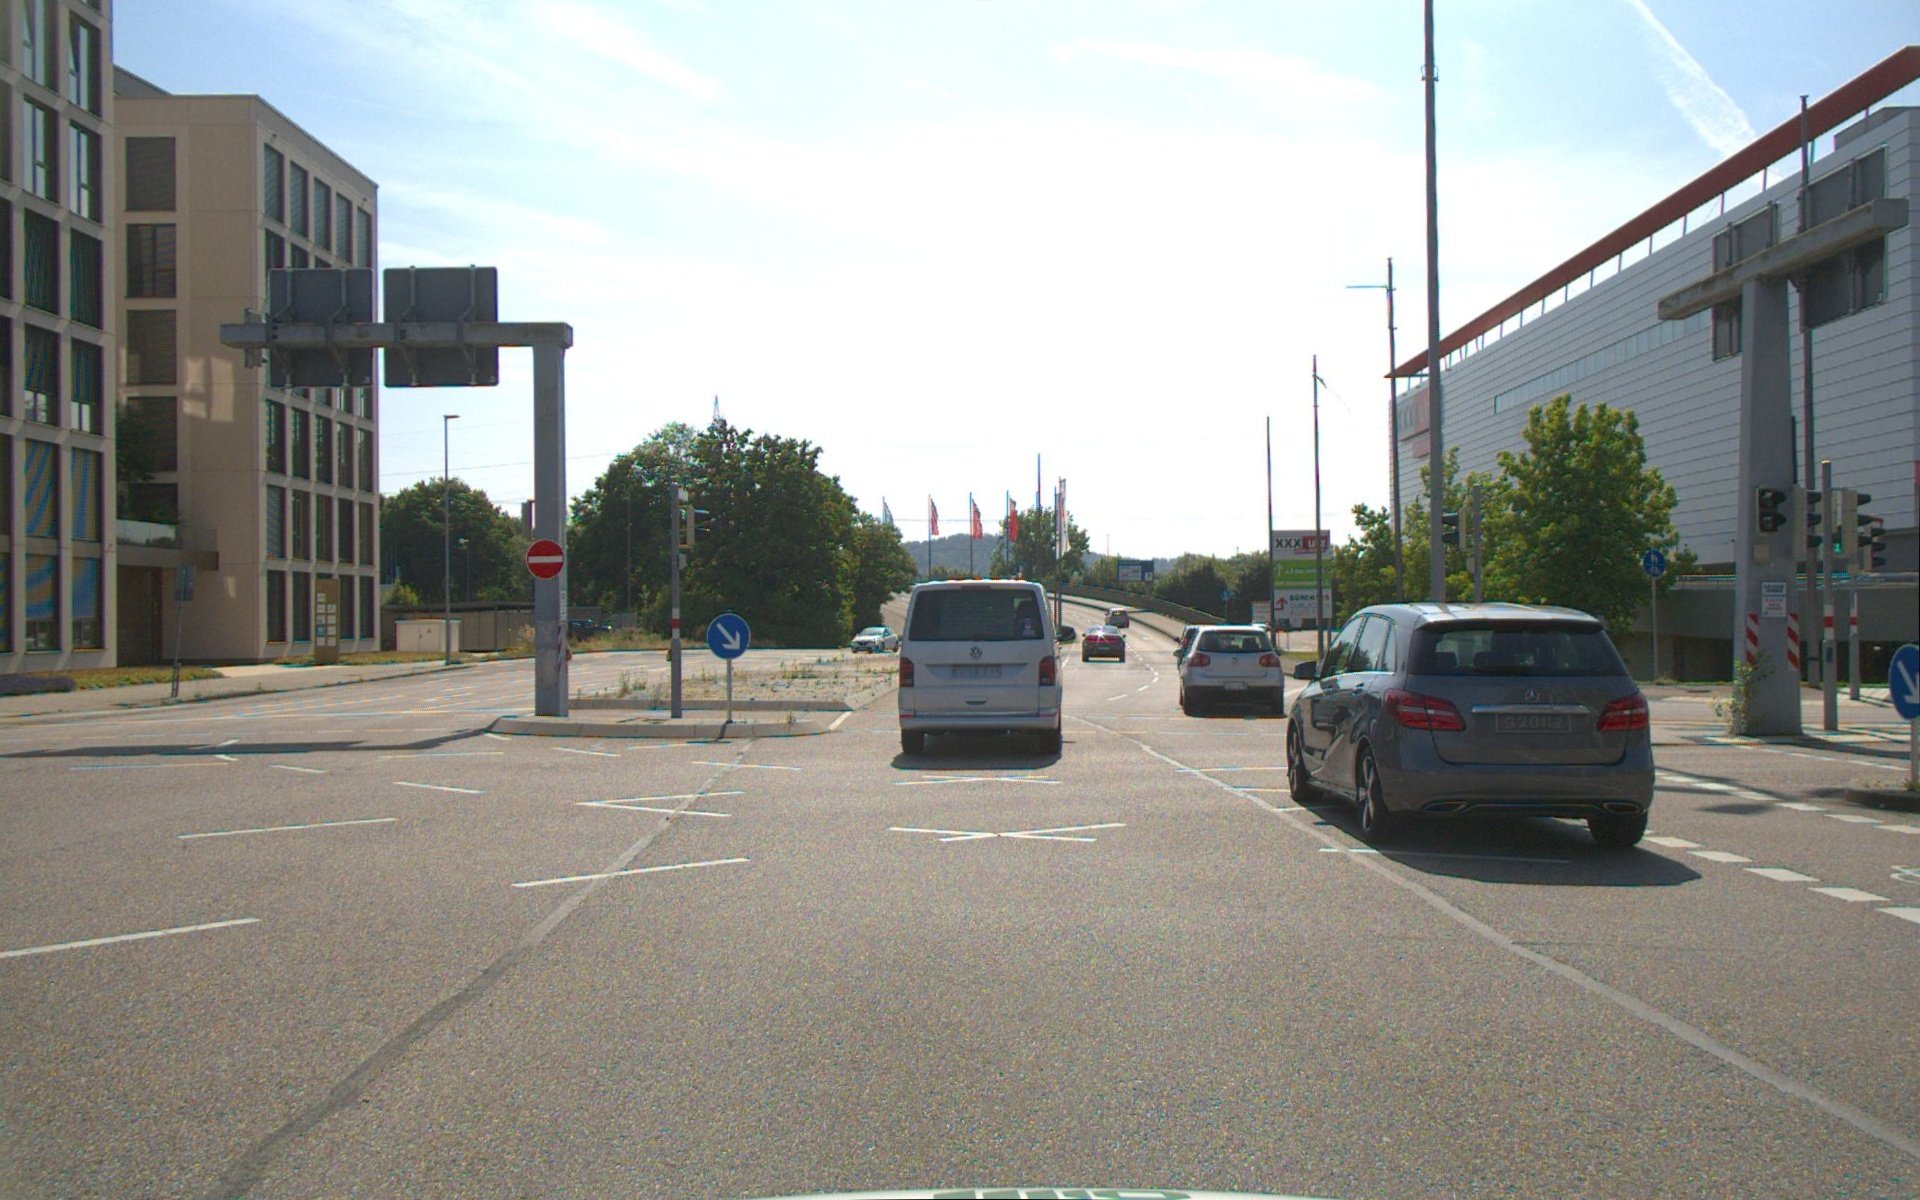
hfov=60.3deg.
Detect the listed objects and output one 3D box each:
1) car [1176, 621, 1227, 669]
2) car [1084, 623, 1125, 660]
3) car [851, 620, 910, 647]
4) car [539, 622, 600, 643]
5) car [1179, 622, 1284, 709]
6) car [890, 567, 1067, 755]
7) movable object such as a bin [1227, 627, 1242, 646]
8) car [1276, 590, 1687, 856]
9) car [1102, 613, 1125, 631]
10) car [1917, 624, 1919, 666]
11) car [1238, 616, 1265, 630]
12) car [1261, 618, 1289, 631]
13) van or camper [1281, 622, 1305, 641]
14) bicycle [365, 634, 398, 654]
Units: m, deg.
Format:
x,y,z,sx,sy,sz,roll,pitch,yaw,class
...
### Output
x,y,z,sx,sy,sz,roll,pitch,yaw,class
8.083,1.488,55.610,1.498,1.506,3.598,1,0,5,car
6.110,1.726,69.657,1.498,1.506,3.249,1,-1,8,car
-4.586,1.985,96.256,1.745,1.486,4.332,-2,-2,23,car
-27.212,2.255,115.318,4.038,1.445,1.718,0,-2,-20,car
4.749,1.141,29.305,1.631,1.439,3.684,0,-2,6,car
0.335,0.670,20.021,1.876,2.010,4.299,0,-1,4,car
16.682,2.187,100.438,0.792,1.133,1.182,0,-1,5,movable object such as a bin
3.485,0.751,11.875,1.737,1.566,4.138,0,-1,1,car
12.805,1.858,138.434,1.500,1.506,3.424,1,-1,-2,car
37.573,1.676,60.652,4.030,1.550,1.798,1,-1,-5,car
33.636,2.701,190.736,1.849,1.546,3.991,2,-1,-9,car
36.298,2.807,190.781,1.956,1.445,3.992,2,-1,-9,car
39.915,3.809,198.253,2.054,2.217,5.440,2,-1,3,van or camper
-32.632,2.502,93.304,1.667,1.110,0.588,0,-1,1,bicycle
